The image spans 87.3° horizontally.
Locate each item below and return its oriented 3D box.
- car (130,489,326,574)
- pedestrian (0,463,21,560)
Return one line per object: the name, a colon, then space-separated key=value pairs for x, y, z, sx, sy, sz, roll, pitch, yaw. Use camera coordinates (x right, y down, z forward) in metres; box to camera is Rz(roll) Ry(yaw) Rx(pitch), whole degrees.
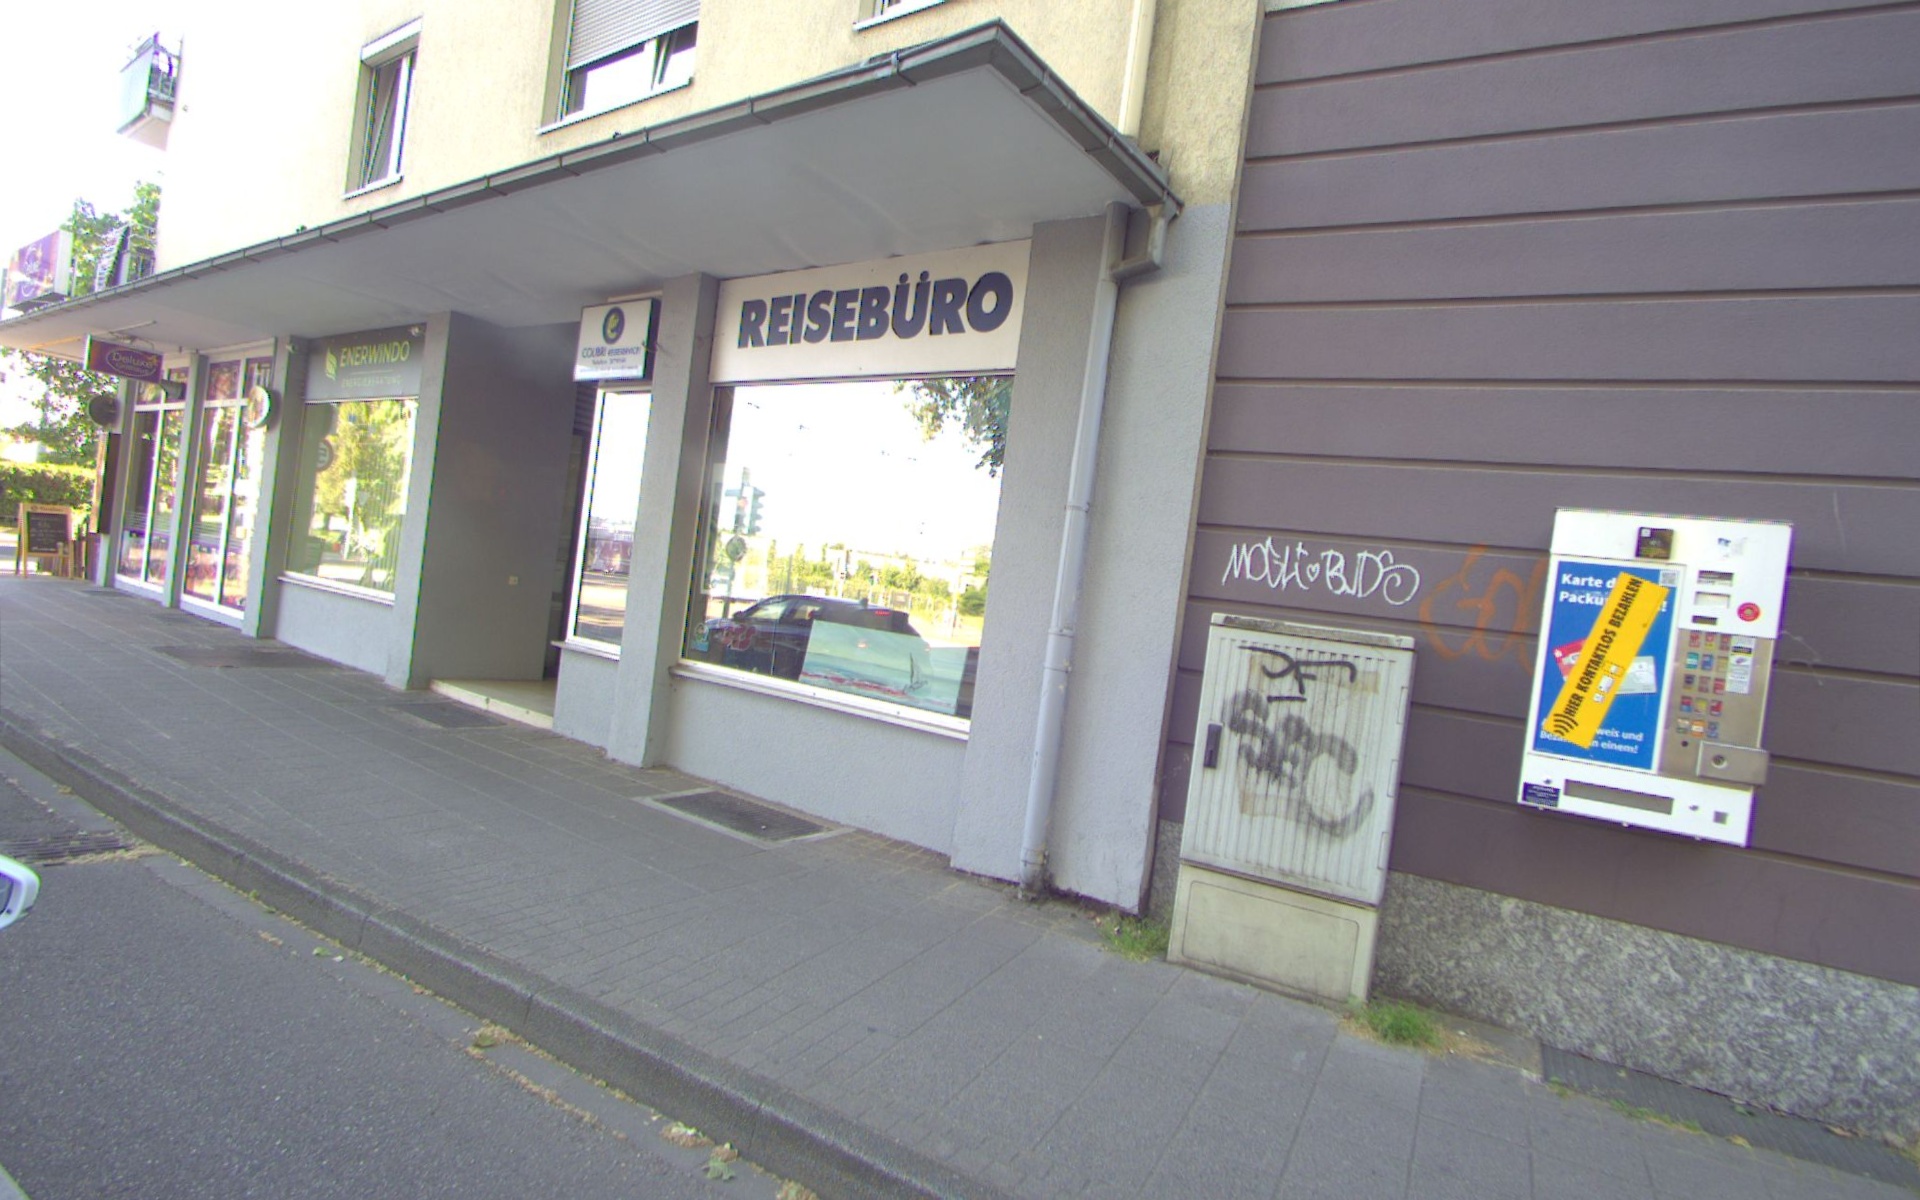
car: x=-21.057 y=-1.907 z=29.083 sx=1.781 sy=1.835 sz=4.172 roll=4 pitch=-3 yaw=40
pedestrian: x=-18.985 y=-1.755 z=19.548 sx=0.695 sy=1.869 sz=0.698 roll=7 pitch=1 yaw=-19
